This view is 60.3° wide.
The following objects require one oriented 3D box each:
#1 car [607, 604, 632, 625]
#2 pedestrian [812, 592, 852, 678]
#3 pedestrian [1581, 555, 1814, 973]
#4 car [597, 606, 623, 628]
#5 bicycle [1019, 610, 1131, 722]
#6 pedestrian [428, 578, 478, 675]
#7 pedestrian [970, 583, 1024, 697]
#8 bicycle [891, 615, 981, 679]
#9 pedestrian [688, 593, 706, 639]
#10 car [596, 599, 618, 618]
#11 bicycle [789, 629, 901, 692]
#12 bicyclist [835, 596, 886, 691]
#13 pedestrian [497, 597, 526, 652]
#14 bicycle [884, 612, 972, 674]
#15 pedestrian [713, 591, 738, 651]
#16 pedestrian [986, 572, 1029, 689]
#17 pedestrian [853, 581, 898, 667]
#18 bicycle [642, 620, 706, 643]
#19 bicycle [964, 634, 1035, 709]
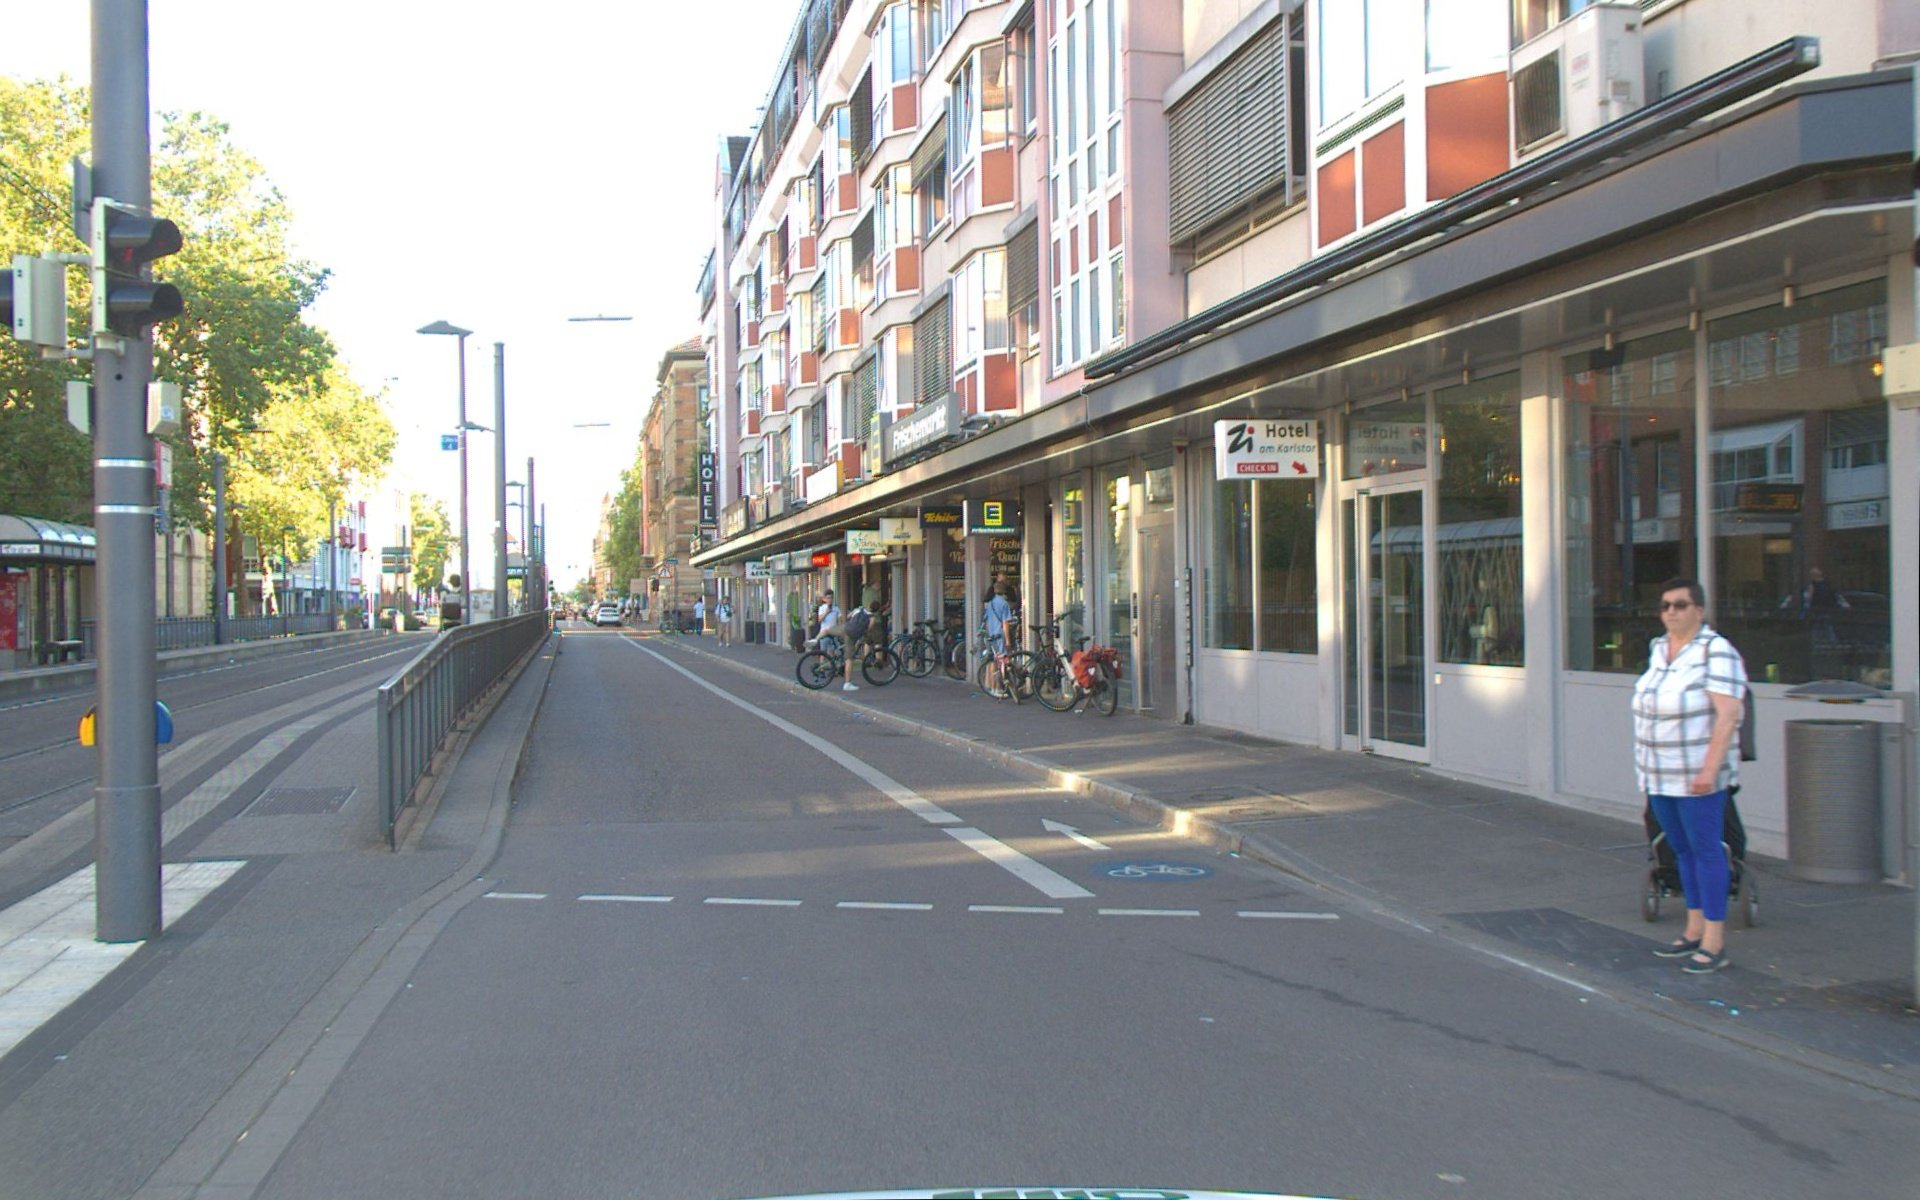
[{"bbox_3d":[-28.029,1.165,136.149,1.958,1.579,3.989,0,1,-12],"label":"car"},{"bbox_3d":[-2.544,0.684,32.844,0.736,1.673,0.549,0,1,-9],"label":"pedestrian"},{"bbox_3d":[3.195,0.665,7.175,0.628,1.691,0.706,0,-1,-42],"label":"pedestrian"},{"bbox_3d":[-27.418,1.336,129.635,1.958,1.579,3.989,0,1,-12],"label":"car"},{"bbox_3d":[1.351,0.752,19.934,0.715,1.248,2.325,0,0,-13],"label":"bicycle"},{"bbox_3d":[-9.004,0.454,29.378,0.768,1.688,0.678,-1,1,-24],"label":"pedestrian"},{"bbox_3d":[0.555,0.581,24.672,0.597,1.664,0.603,0,1,27],"label":"pedestrian"},{"bbox_3d":[-0.446,0.863,30.762,1.619,1.138,0.481,-1,1,-19],"label":"bicycle"},{"bbox_3d":[-11.902,0.728,74.880,0.759,2.048,0.503,0,1,-10],"label":"pedestrian"},{"bbox_3d":[-32.505,0.751,152.325,1.958,1.579,3.989,0,1,-12],"label":"car"},{"bbox_3d":[-1.997,1.046,28.837,1.866,0.946,0.628,-4,1,-3],"label":"bicycle"},{"bbox_3d":[-1.706,0.740,28.449,0.783,1.559,0.628,-4,1,-3],"label":"bicyclist"},{"bbox_3d":[-14.061,0.764,51.844,0.768,1.688,0.678,-1,1,-24],"label":"pedestrian"},{"bbox_3d":[-0.629,0.826,32.178,1.619,1.138,0.563,-1,1,-19],"label":"bicycle"},{"bbox_3d":[-8.078,0.718,56.973,0.823,2.048,0.776,0,1,-9],"label":"pedestrian"},{"bbox_3d":[0.773,0.482,27.010,0.597,1.884,0.602,0,1,-9],"label":"pedestrian"},{"bbox_3d":[-1.790,0.495,35.249,0.800,1.809,0.681,0,1,11],"label":"pedestrian"},{"bbox_3d":[-14.134,1.556,81.829,3.146,1.010,0.887,-2,2,-42],"label":"bicycle"},{"bbox_3d":[0.529,0.968,22.843,0.491,0.933,2.072,0,0,-13],"label":"bicycle"}]
